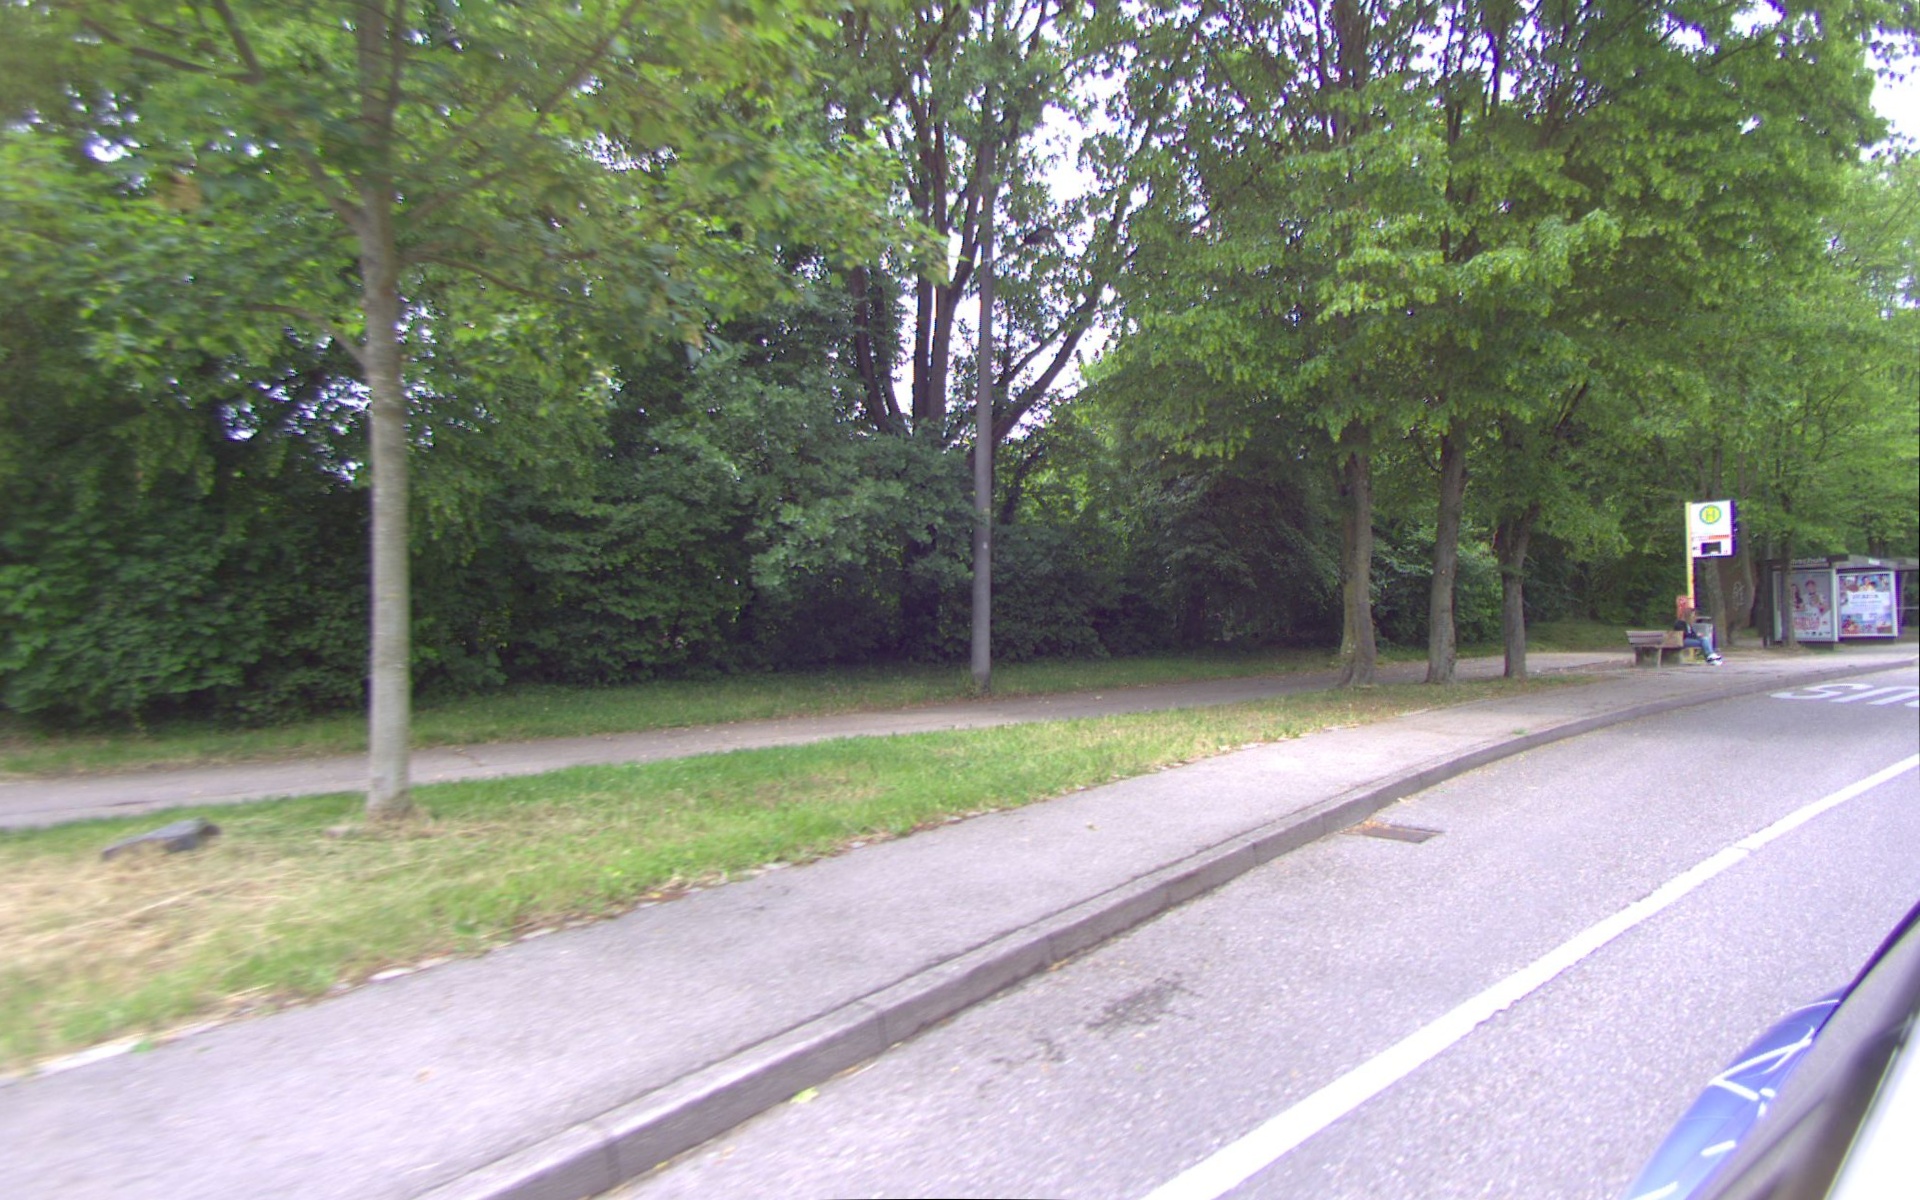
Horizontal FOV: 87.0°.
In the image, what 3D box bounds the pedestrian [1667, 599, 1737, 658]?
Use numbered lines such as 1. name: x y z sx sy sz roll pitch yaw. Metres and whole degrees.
1. pedestrian: 15.484 0.579 21.133 0.569 1.197 1.066 0 0 -38
